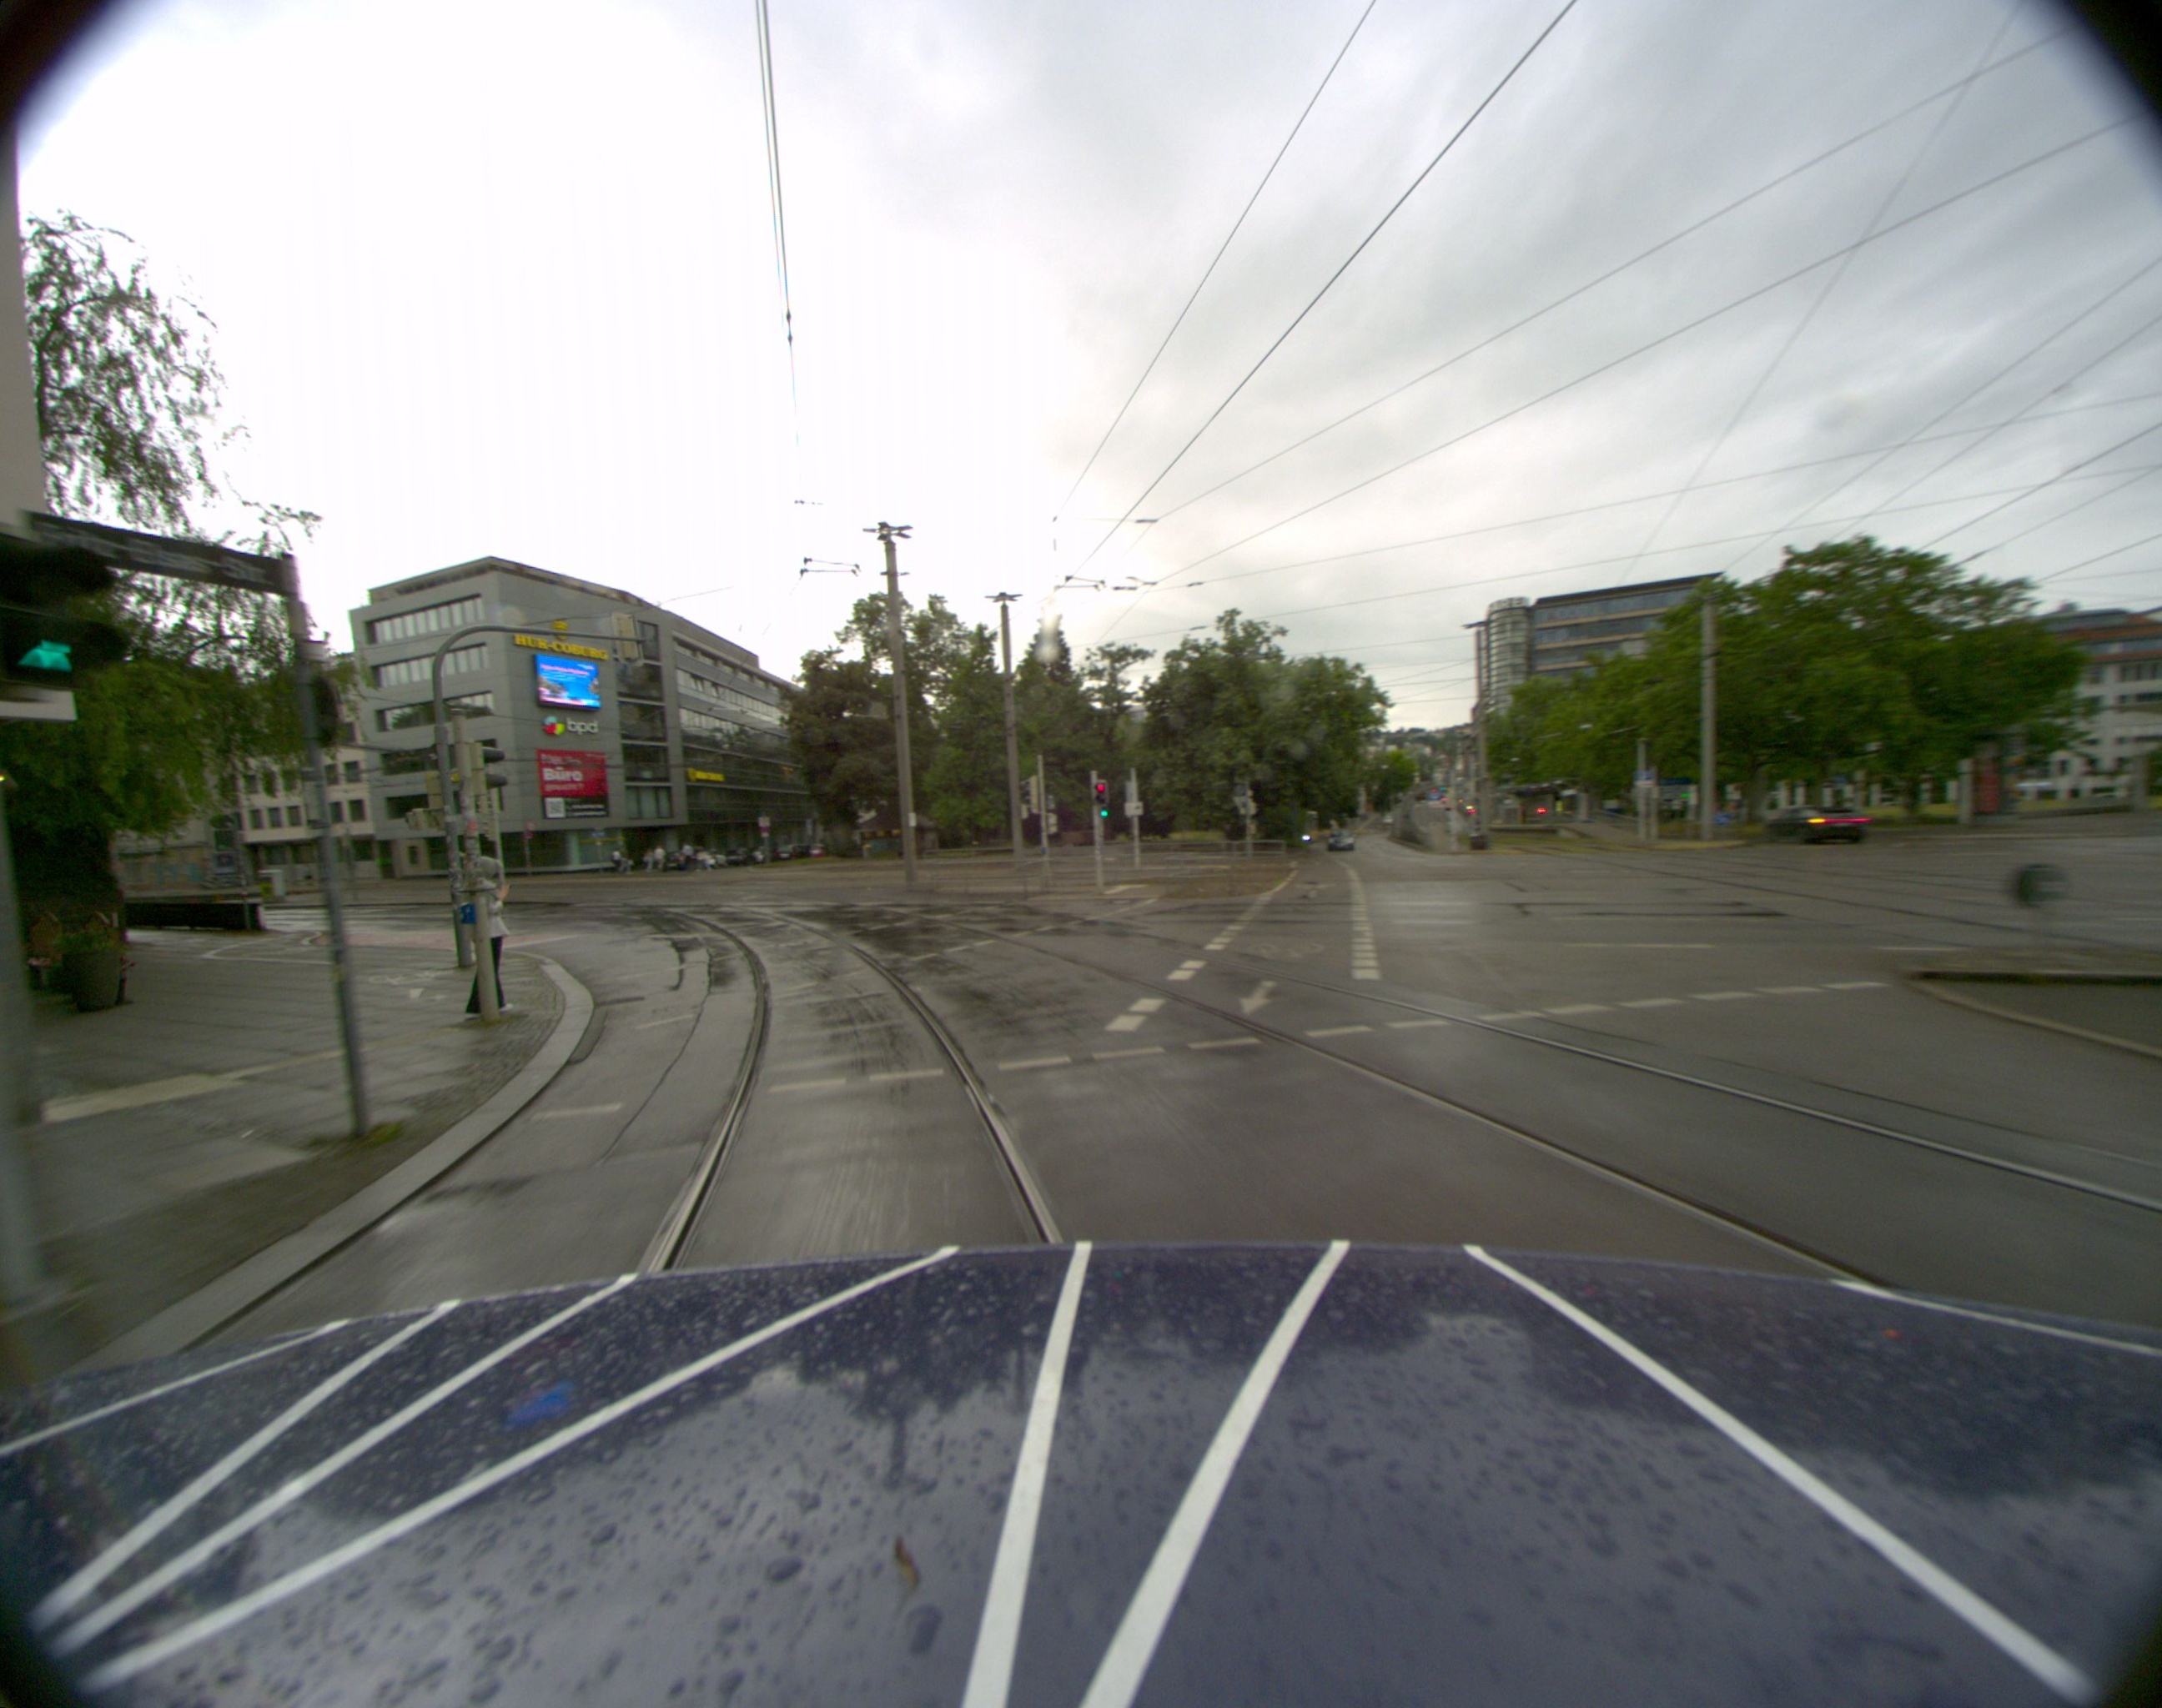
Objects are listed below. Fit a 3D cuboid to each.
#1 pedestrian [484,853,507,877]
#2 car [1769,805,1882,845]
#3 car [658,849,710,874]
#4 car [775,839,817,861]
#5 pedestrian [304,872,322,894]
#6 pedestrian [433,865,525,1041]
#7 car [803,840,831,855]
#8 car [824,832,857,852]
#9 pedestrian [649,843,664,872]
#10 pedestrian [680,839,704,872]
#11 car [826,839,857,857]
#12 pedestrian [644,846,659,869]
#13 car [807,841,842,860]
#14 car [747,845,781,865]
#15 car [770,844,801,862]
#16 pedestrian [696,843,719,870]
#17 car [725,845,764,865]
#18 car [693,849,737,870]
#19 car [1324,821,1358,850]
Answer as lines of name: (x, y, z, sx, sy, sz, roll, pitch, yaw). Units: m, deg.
pedestrian: (-40.157, 0.756, 52.135, 0.587, 1.586, 0.968, 1, 7, 40)
car: (31.095, -1.265, 31.927, 2.100, 1.497, 4.738, -1, 3, 28)
car: (-28.440, 0.506, 54.558, 1.701, 1.542, 3.739, -3, 2, -2)
car: (-21.049, -0.290, 56.286, 1.701, 1.440, 3.539, -3, 2, 1)
pedestrian: (-60.049, 2.254, 59.422, 0.796, 1.605, 0.549, -2, 7, 25)
pedestrian: (-6.267, 0.988, 7.944, 0.529, 1.703, 0.704, -4, 3, -29)
car: (-28.607, -0.750, 82.558, 1.701, 1.440, 3.539, -3, 2, 1)
car: (-28.817, -1.527, 91.153, 2.332, 2.208, 5.066, -3, 2, -2)
pedestrian: (-30.214, 0.220, 54.106, 0.617, 2.004, 0.661, -5, 6, -15)
pedestrian: (-23.369, 0.078, 45.640, 0.914, 1.853, 1.000, -8, 7, -38)
car: (-21.381, -0.513, 67.883, 1.702, 1.440, 3.538, -3, 2, -3)
pedestrian: (-30.572, 0.264, 54.082, 0.634, 1.586, 0.589, 1, 7, 39)
car: (-20.899, -0.305, 62.061, 1.702, 1.440, 3.538, -3, 2, -3)
car: (-28.448, 0.063, 68.293, 1.702, 1.546, 3.537, -3, 2, -4)
car: (-28.178, -0.117, 72.594, 1.702, 1.546, 3.537, -3, 2, -4)
pedestrian: (-23.756, 0.137, 48.310, 0.914, 1.586, 1.000, -8, 7, -41)
car: (-27.916, 0.034, 63.204, 1.702, 1.446, 3.739, -3, 2, -4)
car: (-28.297, 0.404, 58.814, 1.702, 1.446, 3.739, -3, 2, -4)
car: (17.389, -1.255, 50.708, 1.995, 1.696, 4.004, -2, 2, 21)
